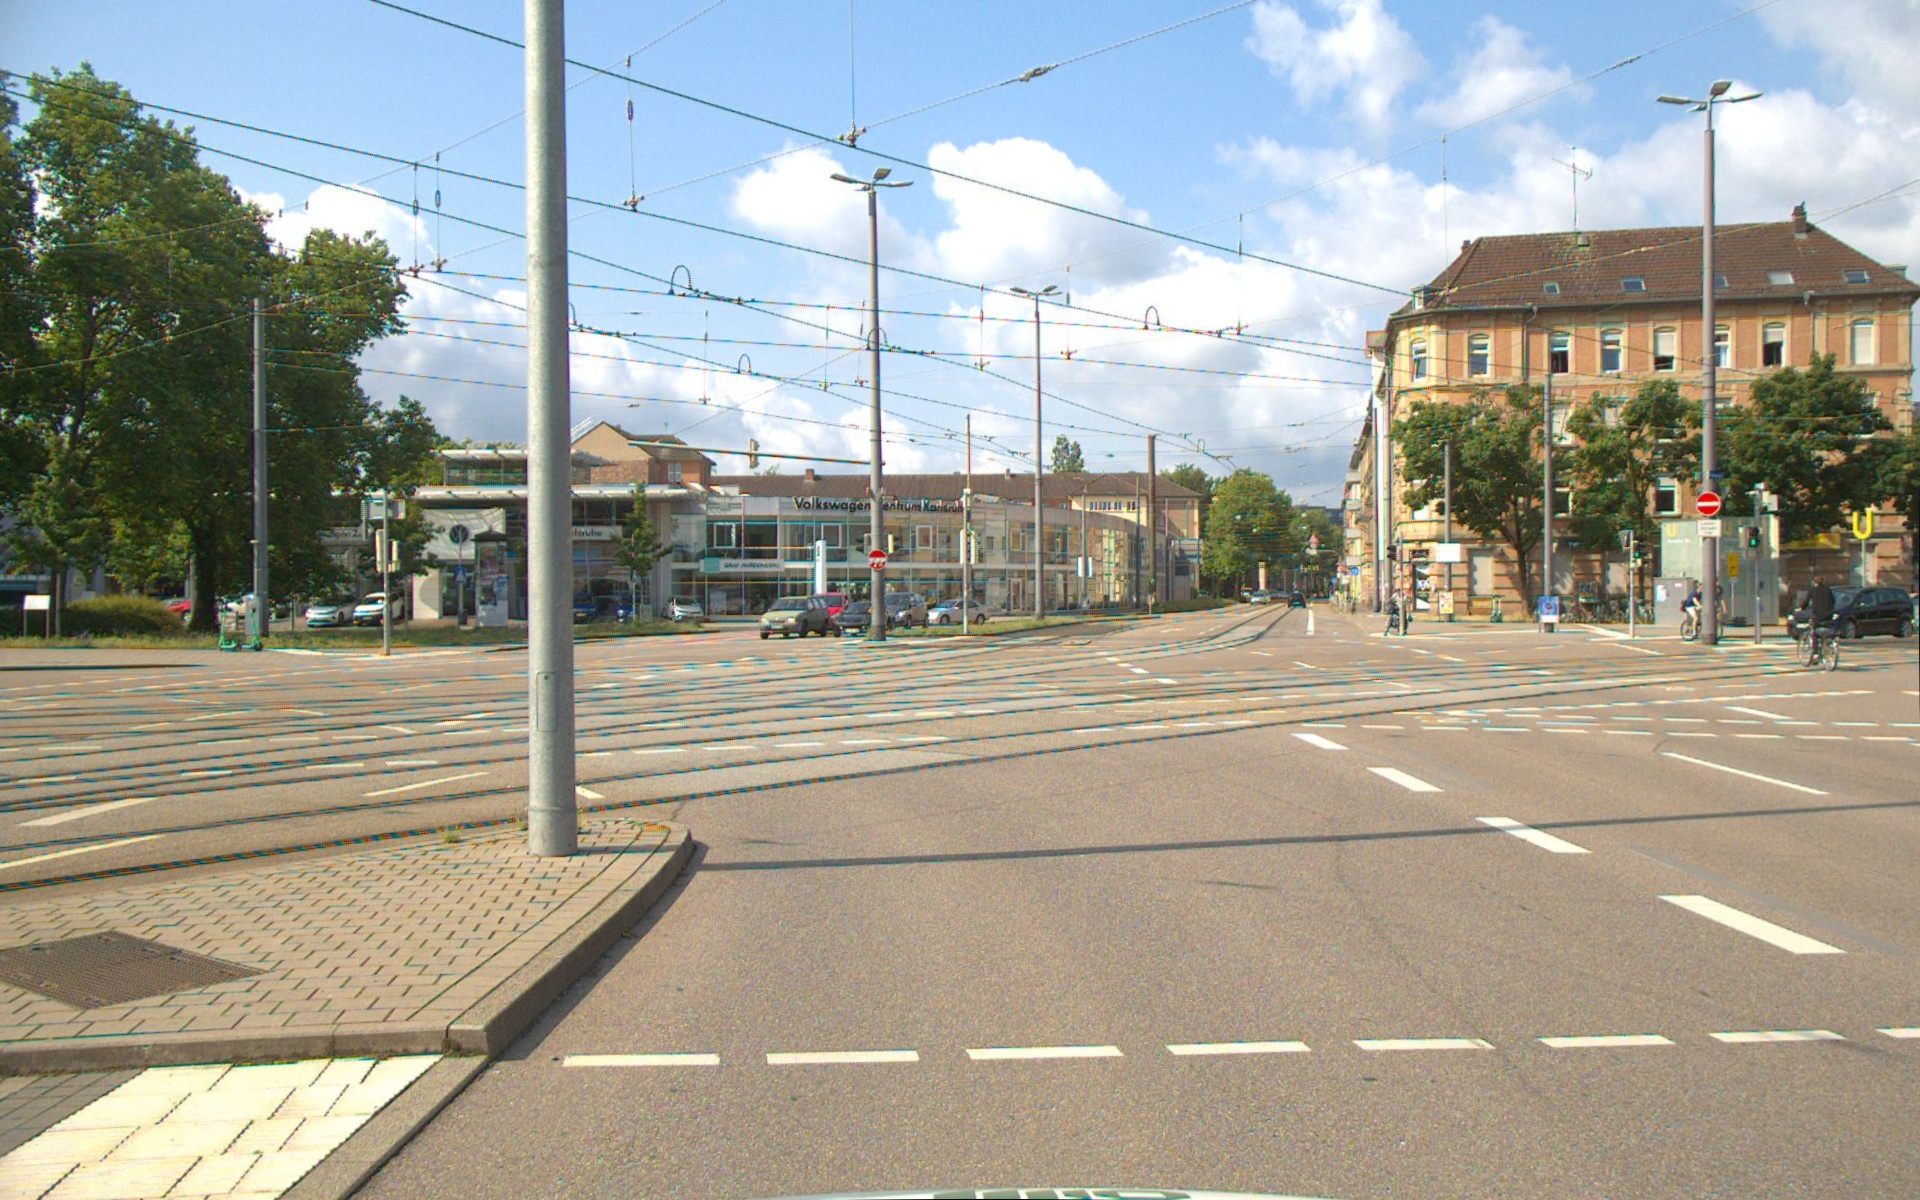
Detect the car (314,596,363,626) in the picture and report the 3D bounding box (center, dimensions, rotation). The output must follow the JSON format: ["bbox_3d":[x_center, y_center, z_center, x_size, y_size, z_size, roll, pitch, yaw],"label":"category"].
[{"bbox_3d":[-35.306,0.611,94.046,1.958,1.601,3.990,0,0,-11],"label":"car"}]

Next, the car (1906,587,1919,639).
[{"bbox_3d":[32.562,0.348,52.848,4.620,1.623,1.980,-2,1,-30],"label":"car"}]

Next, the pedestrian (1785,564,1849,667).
[{"bbox_3d":[15.937,0.278,30.782,0.972,1.873,0.996,0,0,23],"label":"pedestrian"}]

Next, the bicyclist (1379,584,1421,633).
[{"bbox_3d":[15.618,0.295,58.699,1.177,1.687,0.780,-1,1,-22],"label":"bicyclist"}]

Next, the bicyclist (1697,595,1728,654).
[{"bbox_3d":[21.993,0.702,48.336,0.561,1.700,0.655,0,0,-6],"label":"bicyclist"}]

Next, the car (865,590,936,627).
[{"bbox_3d":[-2.542,0.353,71.810,1.951,1.579,4.003,0,0,16],"label":"car"}]

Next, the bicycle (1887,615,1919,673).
[{"bbox_3d":[17.873,0.782,29.343,0.973,1.045,3.107,2,-2,-3],"label":"bicycle"}]

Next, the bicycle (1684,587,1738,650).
[{"bbox_3d":[21.969,0.521,48.401,0.715,1.808,1.635,0,0,-6],"label":"bicycle"}]

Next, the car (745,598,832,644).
[{"bbox_3d":[-5.943,0.703,57.770,1.781,1.539,4.003,0,0,13],"label":"car"}]

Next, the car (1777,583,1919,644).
[{"bbox_3d":[26.874,0.394,49.891,4.281,1.770,1.980,1,0,-30],"label":"car"}]

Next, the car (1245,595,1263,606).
[{"bbox_3d":[33.984,0.047,191.261,1.951,1.355,4.003,0,0,8],"label":"car"}]

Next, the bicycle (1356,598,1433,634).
[{"bbox_3d":[15.416,0.556,58.625,2.635,1.191,0.895,-2,1,-22],"label":"bicycle"}]

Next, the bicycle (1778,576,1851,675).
[{"bbox_3d":[15.886,0.455,30.807,0.985,1.755,2.468,0,0,22],"label":"bicycle"}]

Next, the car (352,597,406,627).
[{"bbox_3d":[-32.968,0.678,93.983,2.028,1.632,3.994,0,0,-6],"label":"car"}]

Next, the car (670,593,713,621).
[{"bbox_3d":[-15.507,0.377,95.605,1.880,1.579,3.999,0,0,-1],"label":"car"}]

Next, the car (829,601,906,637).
[{"bbox_3d":[-3.179,0.636,57.396,1.587,1.182,4.003,0,0,13],"label":"car"}]

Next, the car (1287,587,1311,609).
[{"bbox_3d":[32.435,-0.190,158.000,1.951,2.049,4.003,0,0,16],"label":"car"}]

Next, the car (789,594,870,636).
[{"bbox_3d":[-4.999,0.550,63.884,1.951,1.545,4.003,0,0,13],"label":"car"}]

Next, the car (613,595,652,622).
[{"bbox_3d":[-18.500,0.461,93.558,1.883,1.470,3.994,0,0,-7],"label":"car"}]

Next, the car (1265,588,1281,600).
[{"bbox_3d":[38.723,-0.741,204.662,1.951,1.517,4.004,-1,0,10],"label":"car"}]

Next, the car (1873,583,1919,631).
[{"bbox_3d":[33.672,0.228,57.335,3.942,1.628,1.738,0,0,-29],"label":"car"}]

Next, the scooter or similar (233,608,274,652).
[{"bbox_3d":[-19.701,0.846,46.129,0.373,1.177,0.927,4,1,31],"label":"scooter or similar"}]

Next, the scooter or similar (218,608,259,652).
[{"bbox_3d":[-20.223,0.841,46.382,0.375,1.177,0.923,5,1,43],"label":"scooter or similar"}]

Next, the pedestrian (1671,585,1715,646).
[{"bbox_3d":[22.363,0.474,50.482,0.850,1.841,0.884,0,0,-14],"label":"pedestrian"}]

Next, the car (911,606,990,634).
[{"bbox_3d":[-0.489,1.066,89.022,1.750,1.489,4.454,0,0,42],"label":"car"}]

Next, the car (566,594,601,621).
[{"bbox_3d":[-21.311,0.407,93.731,1.886,1.470,3.988,0,0,-12],"label":"car"}]
